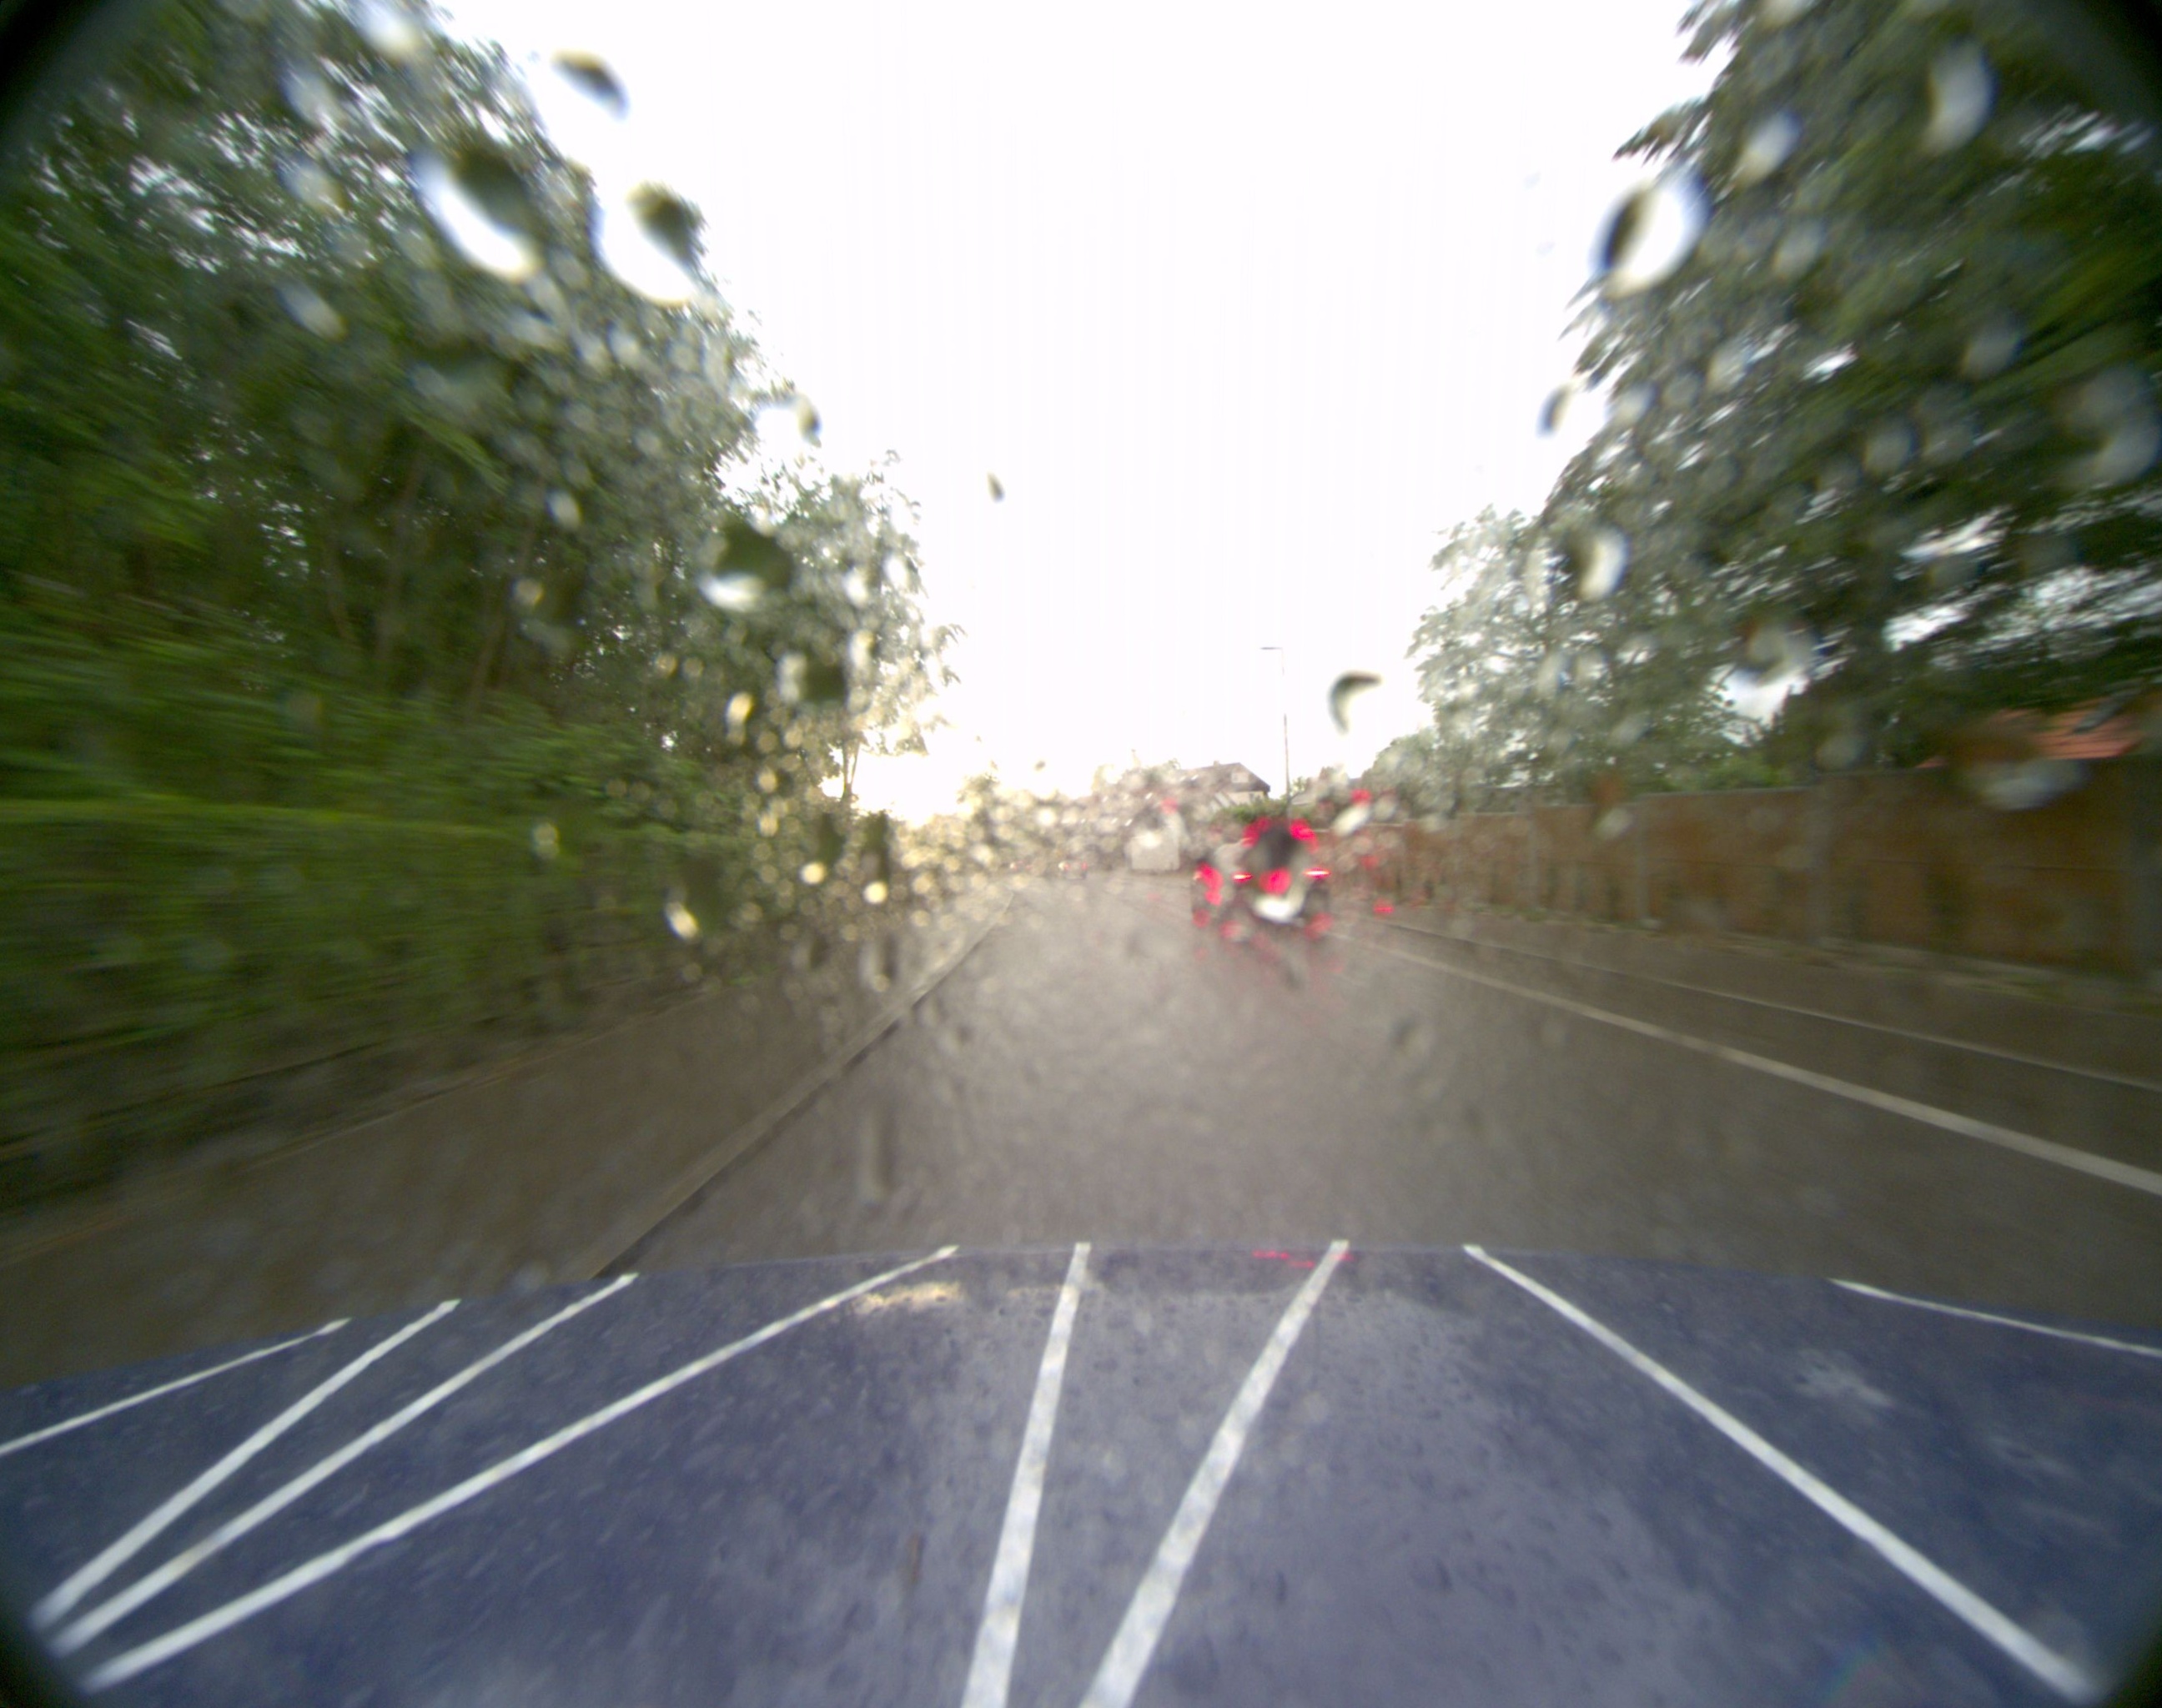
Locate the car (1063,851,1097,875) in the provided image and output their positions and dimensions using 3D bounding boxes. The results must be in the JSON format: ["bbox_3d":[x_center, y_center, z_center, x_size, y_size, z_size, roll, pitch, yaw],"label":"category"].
[{"bbox_3d":[-0.144,0.602,52.169,1.840,1.503,4.166,-3,0,-6],"label":"car"}]

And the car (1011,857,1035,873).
[{"bbox_3d":[-6.186,1.166,80.724,1.840,1.503,4.612,-3,0,-12],"label":"car"}]

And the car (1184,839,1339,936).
[{"bbox_3d":[3.523,0.590,15.798,1.923,1.638,4.545,-2,0,-2],"label":"car"}]

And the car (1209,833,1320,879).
[{"bbox_3d":[8.429,0.089,35.220,4.515,1.849,2.089,-3,0,-3],"label":"car"}]
